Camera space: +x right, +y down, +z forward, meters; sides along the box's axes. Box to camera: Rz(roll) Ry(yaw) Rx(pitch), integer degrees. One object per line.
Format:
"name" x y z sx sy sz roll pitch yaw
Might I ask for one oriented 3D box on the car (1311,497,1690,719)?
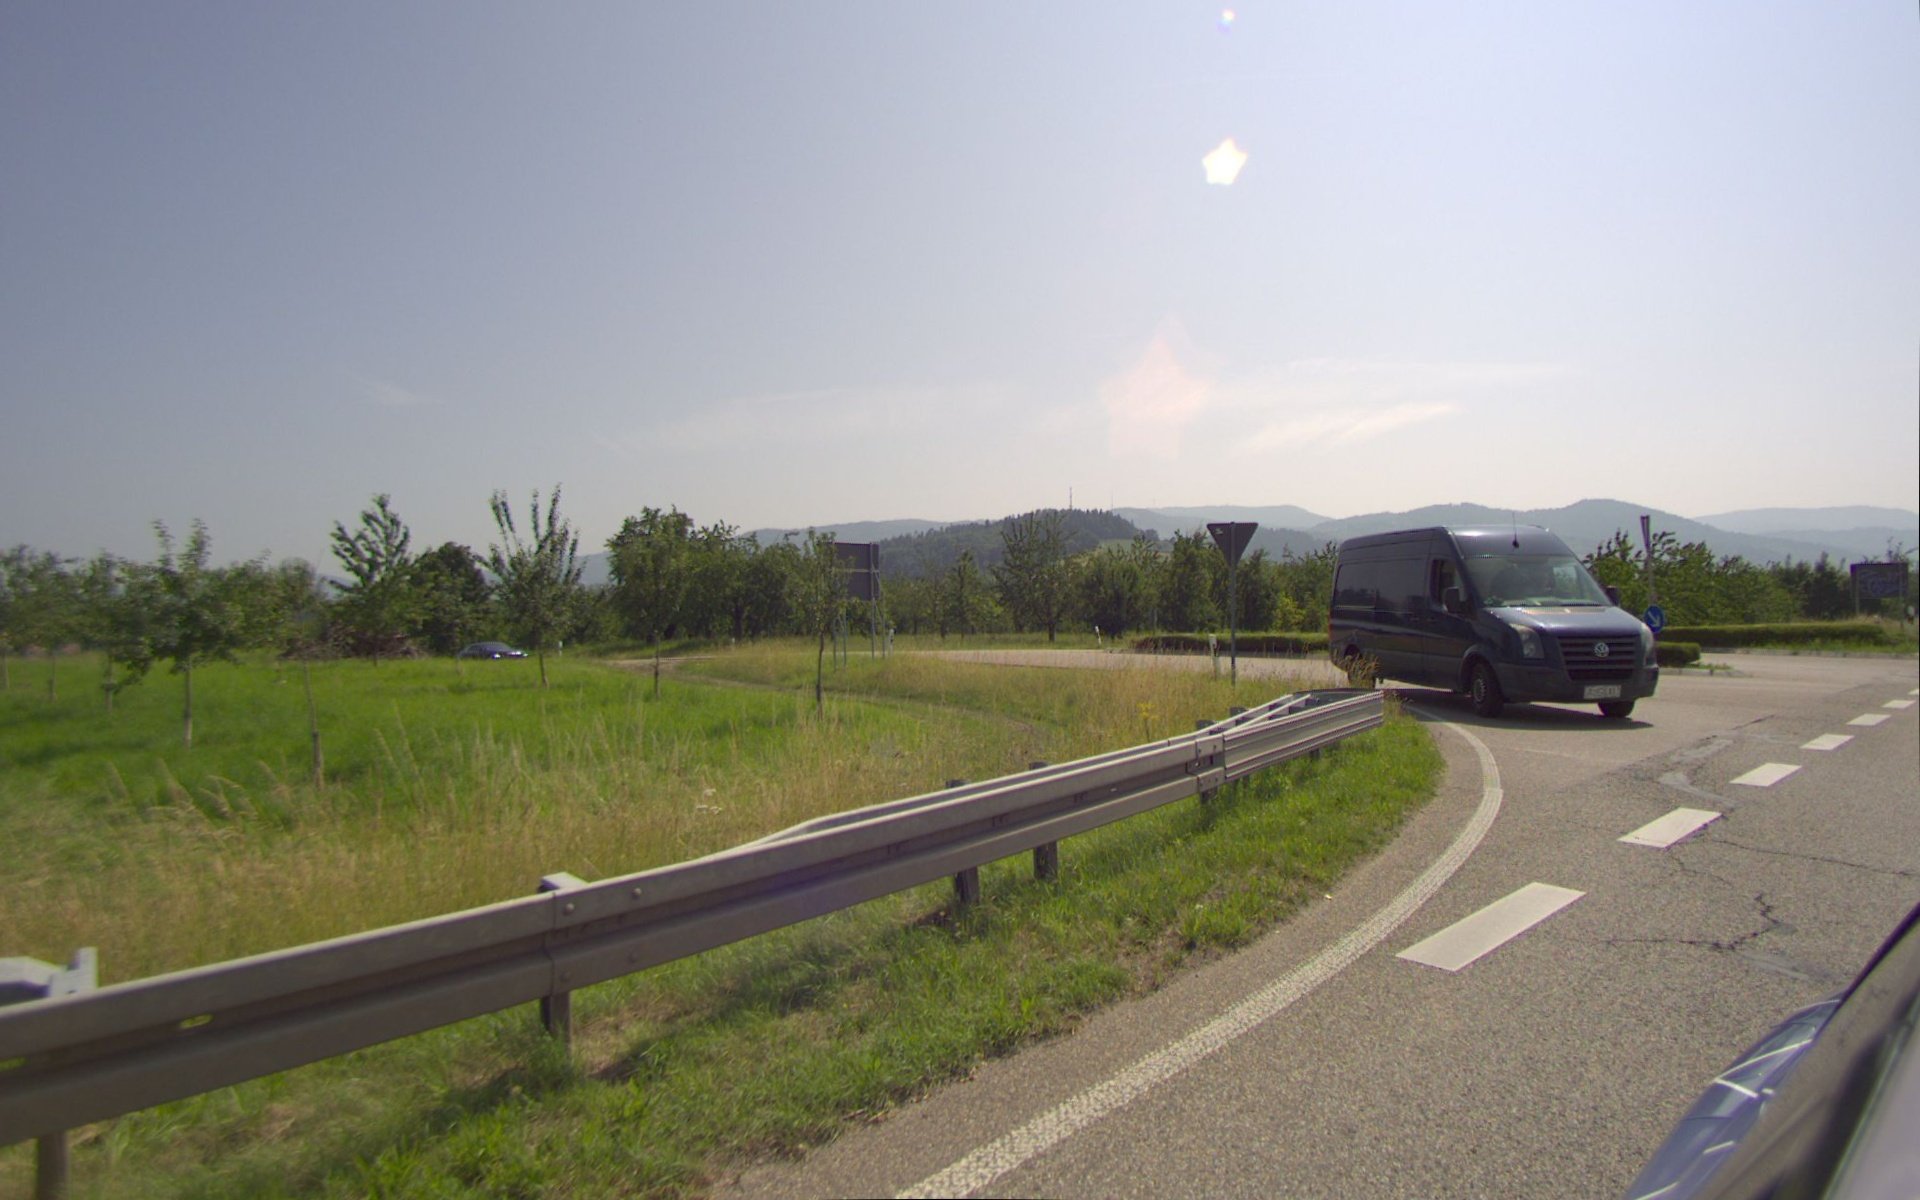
"car" 7.484 0.120 15.113 2.022 2.608 6.314 0 -1 -2

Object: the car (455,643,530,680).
"car" -26.449 3.423 57.185 4.651 1.717 1.973 0 2 39
